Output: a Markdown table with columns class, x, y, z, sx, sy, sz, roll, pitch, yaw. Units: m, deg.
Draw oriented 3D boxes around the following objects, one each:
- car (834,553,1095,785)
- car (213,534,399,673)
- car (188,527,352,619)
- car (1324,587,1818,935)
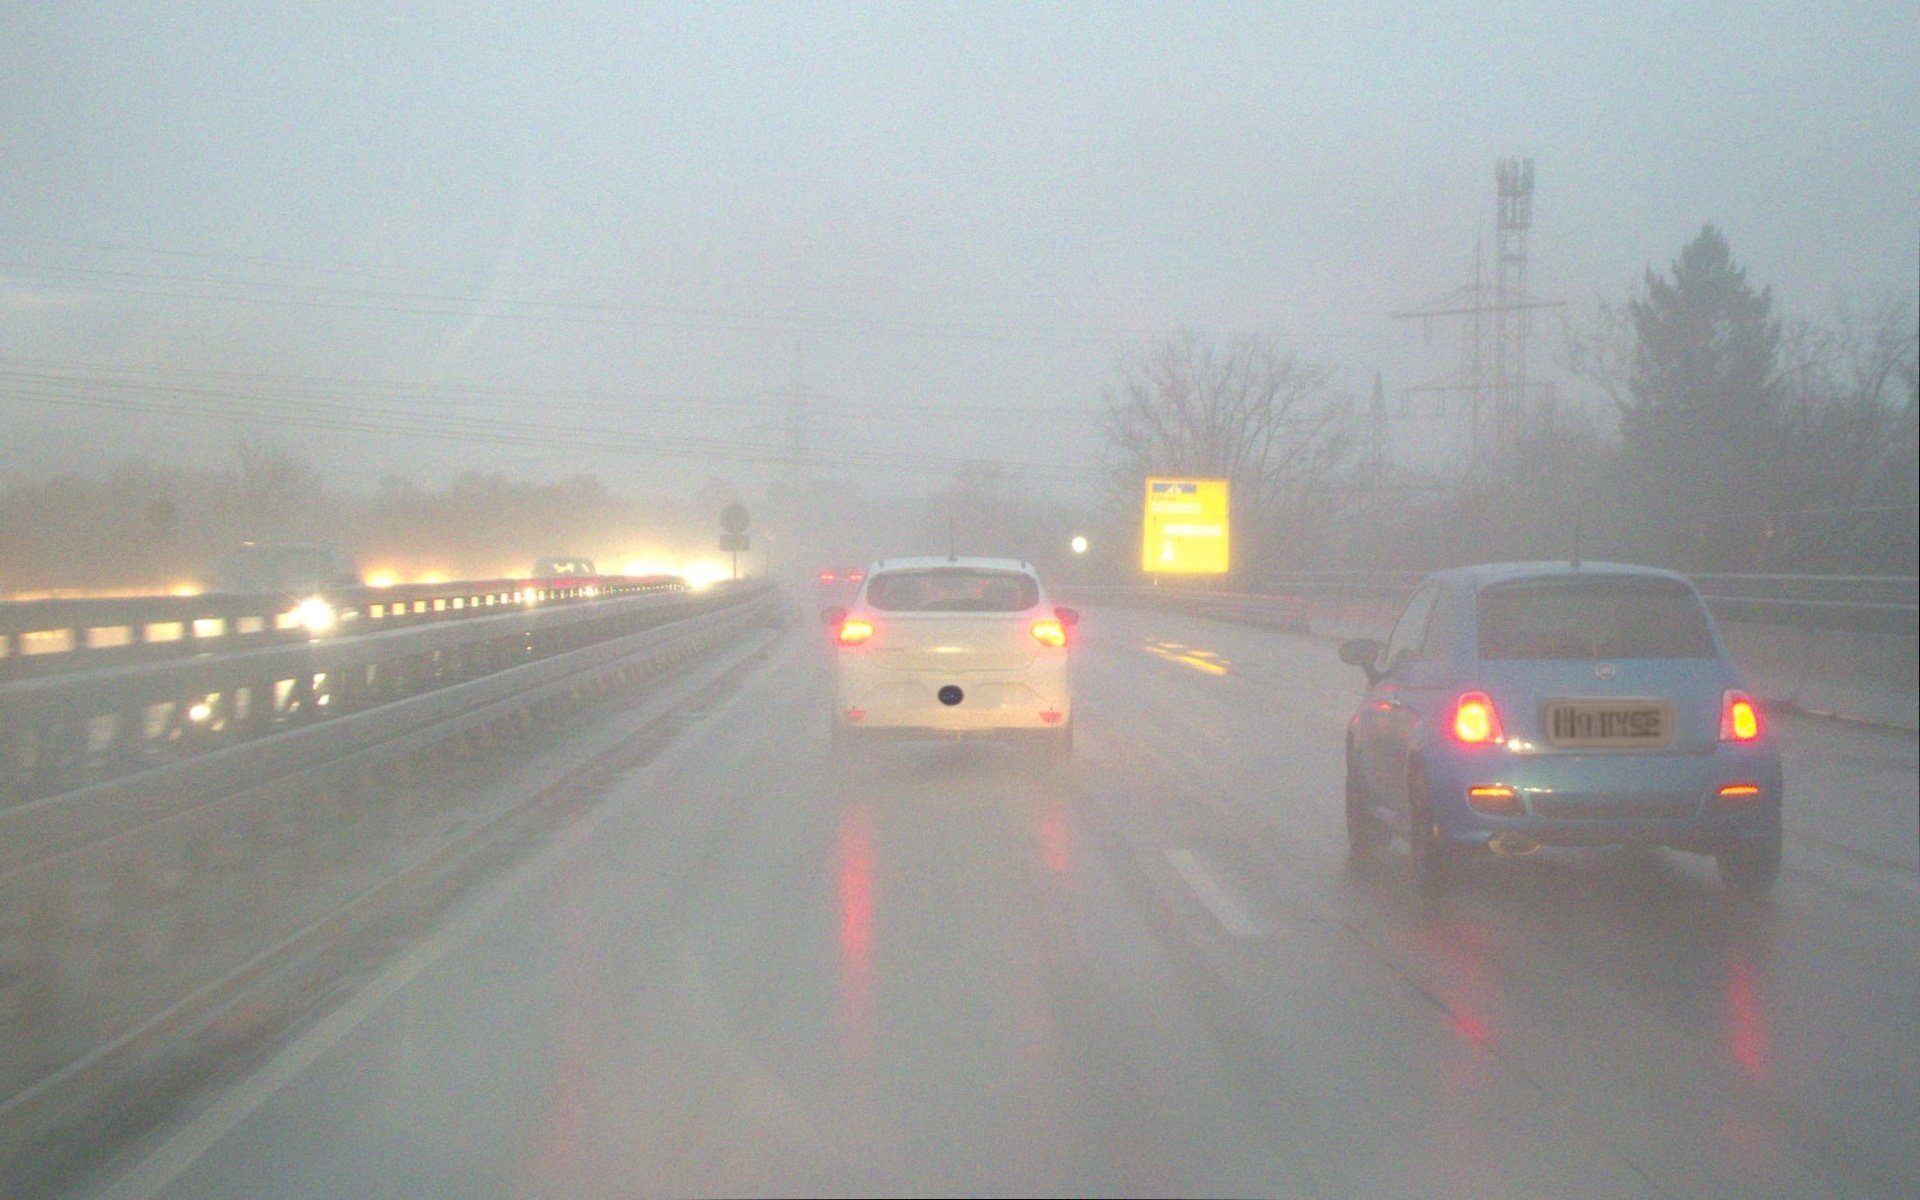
| class | x | y | z | sx | sy | sz | roll | pitch | yaw |
| --- | --- | --- | --- | --- | --- | --- | --- | --- | --- |
| car | 0.057 | 0.470 | 26.252 | 1.845 | 1.630 | 3.768 | 0 | 1 | 1 |
| car | -8.176 | 0.017 | 43.232 | 1.686 | 1.678 | 3.507 | 0 | 1 | 0 |
| car | -11.899 | -0.494 | 59.516 | 1.968 | 1.518 | 4.199 | 1 | 1 | 0 |
| car | 2.941 | 0.710 | 17.397 | 1.845 | 1.448 | 4.149 | 0 | 2 | 1 |
